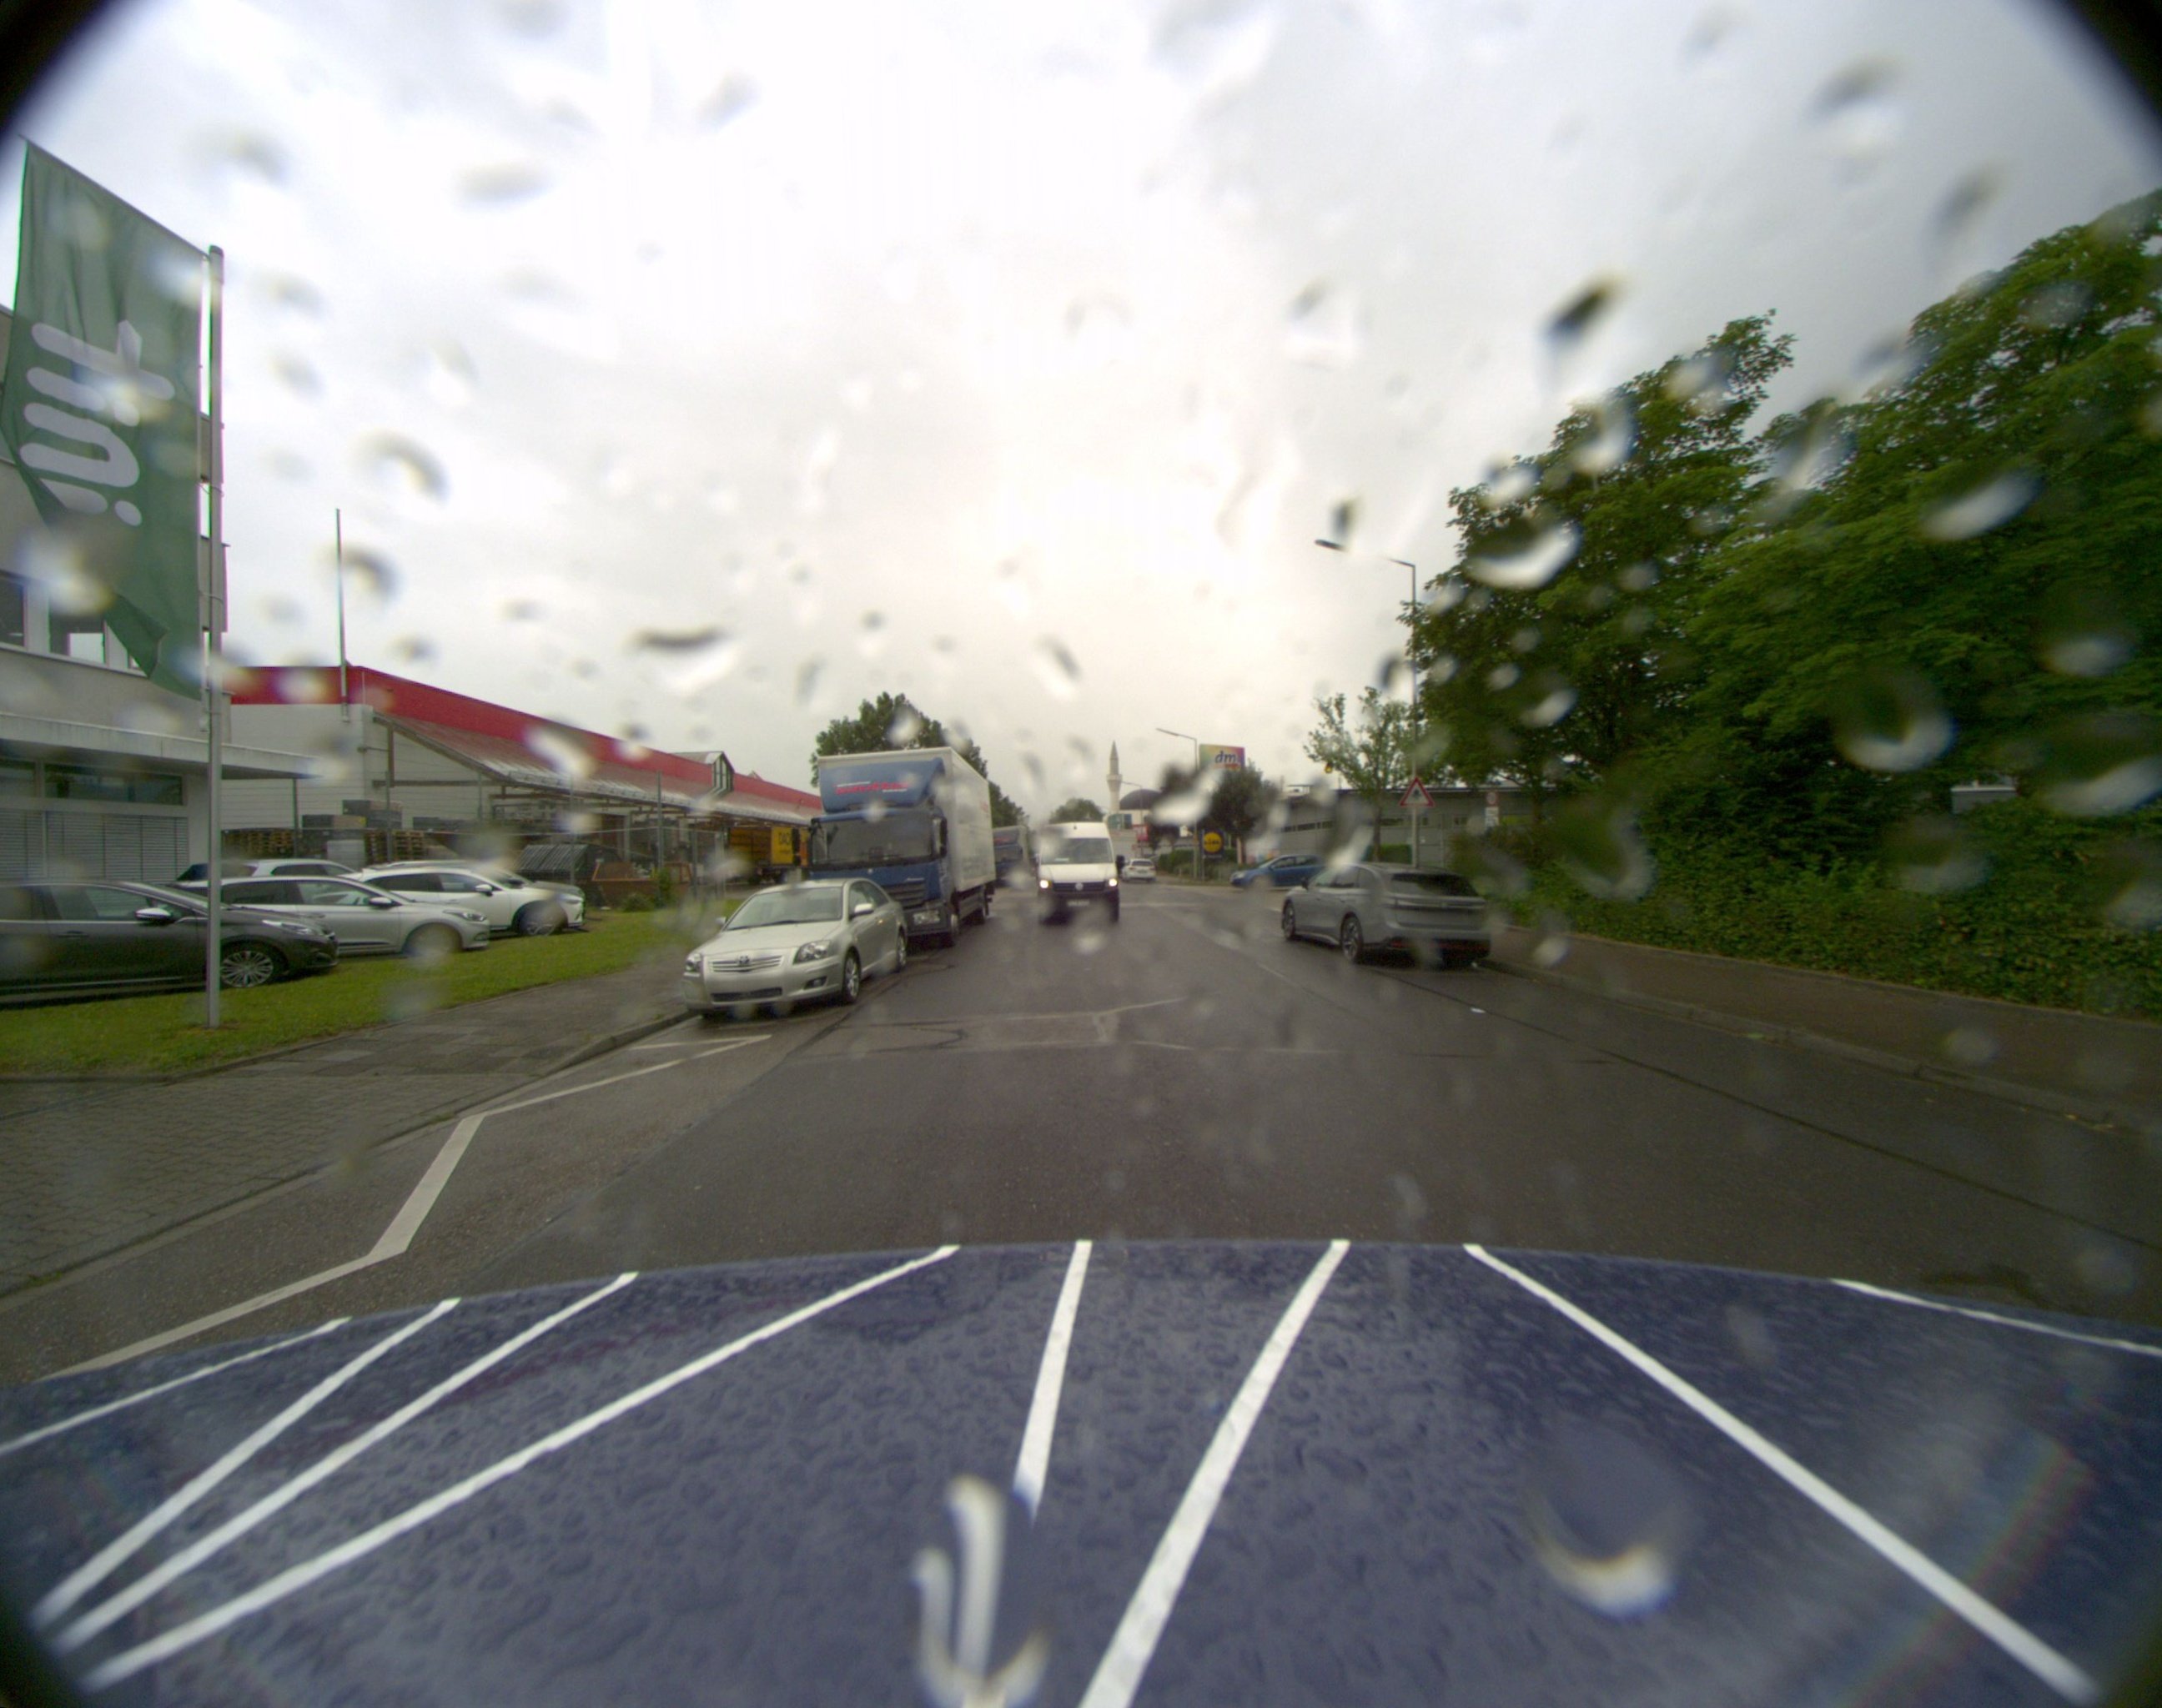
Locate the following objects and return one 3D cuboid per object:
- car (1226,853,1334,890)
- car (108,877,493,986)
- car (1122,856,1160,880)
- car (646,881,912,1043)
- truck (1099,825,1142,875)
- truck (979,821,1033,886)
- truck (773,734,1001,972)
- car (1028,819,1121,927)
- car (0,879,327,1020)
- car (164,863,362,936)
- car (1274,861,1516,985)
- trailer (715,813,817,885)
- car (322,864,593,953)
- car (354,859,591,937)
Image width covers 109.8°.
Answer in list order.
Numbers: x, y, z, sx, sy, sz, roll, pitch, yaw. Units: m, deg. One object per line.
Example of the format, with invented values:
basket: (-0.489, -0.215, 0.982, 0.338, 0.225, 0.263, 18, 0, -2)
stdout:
car: (8.195, 0.708, 31.479, 3.998, 1.432, 1.736, 0, 0, -2)
car: (-11.972, 1.085, 12.001, 1.702, 1.279, 4.008, -1, 0, 44)
car: (3.686, 0.828, 47.328, 1.841, 1.426, 4.490, 0, 0, -2)
car: (-3.502, 1.154, 9.791, 1.802, 1.433, 4.344, -1, 0, -2)
truck: (3.077, -0.296, 61.783, 2.889, 3.724, 7.866, -1, 0, -1)
truck: (-4.693, -0.026, 49.047, 2.679, 3.670, 8.007, -4, 0, -2)
truck: (-3.678, -0.030, 17.177, 2.748, 3.767, 9.297, -4, 0, -1)
car: (-0.075, 0.437, 20.249, 2.084, 2.466, 5.347, -1, 0, 2)
car: (-11.655, 1.073, 9.040, 3.776, 1.385, 1.702, -1, 0, -45)
car: (-17.839, 0.931, 16.741, 1.402, 1.417, 2.746, -1, 0, -2)
car: (4.840, 0.955, 12.605, 1.814, 1.519, 4.746, 3, 0, -3)
trailer: (-20.220, -0.305, 49.570, 2.975, 4.218, 9.469, -1, 0, -2)
car: (-12.373, 0.979, 15.263, 1.770, 1.461, 4.008, -1, 0, 44)
car: (-13.873, 0.916, 17.494, 1.868, 1.518, 4.008, -1, 0, 43)
